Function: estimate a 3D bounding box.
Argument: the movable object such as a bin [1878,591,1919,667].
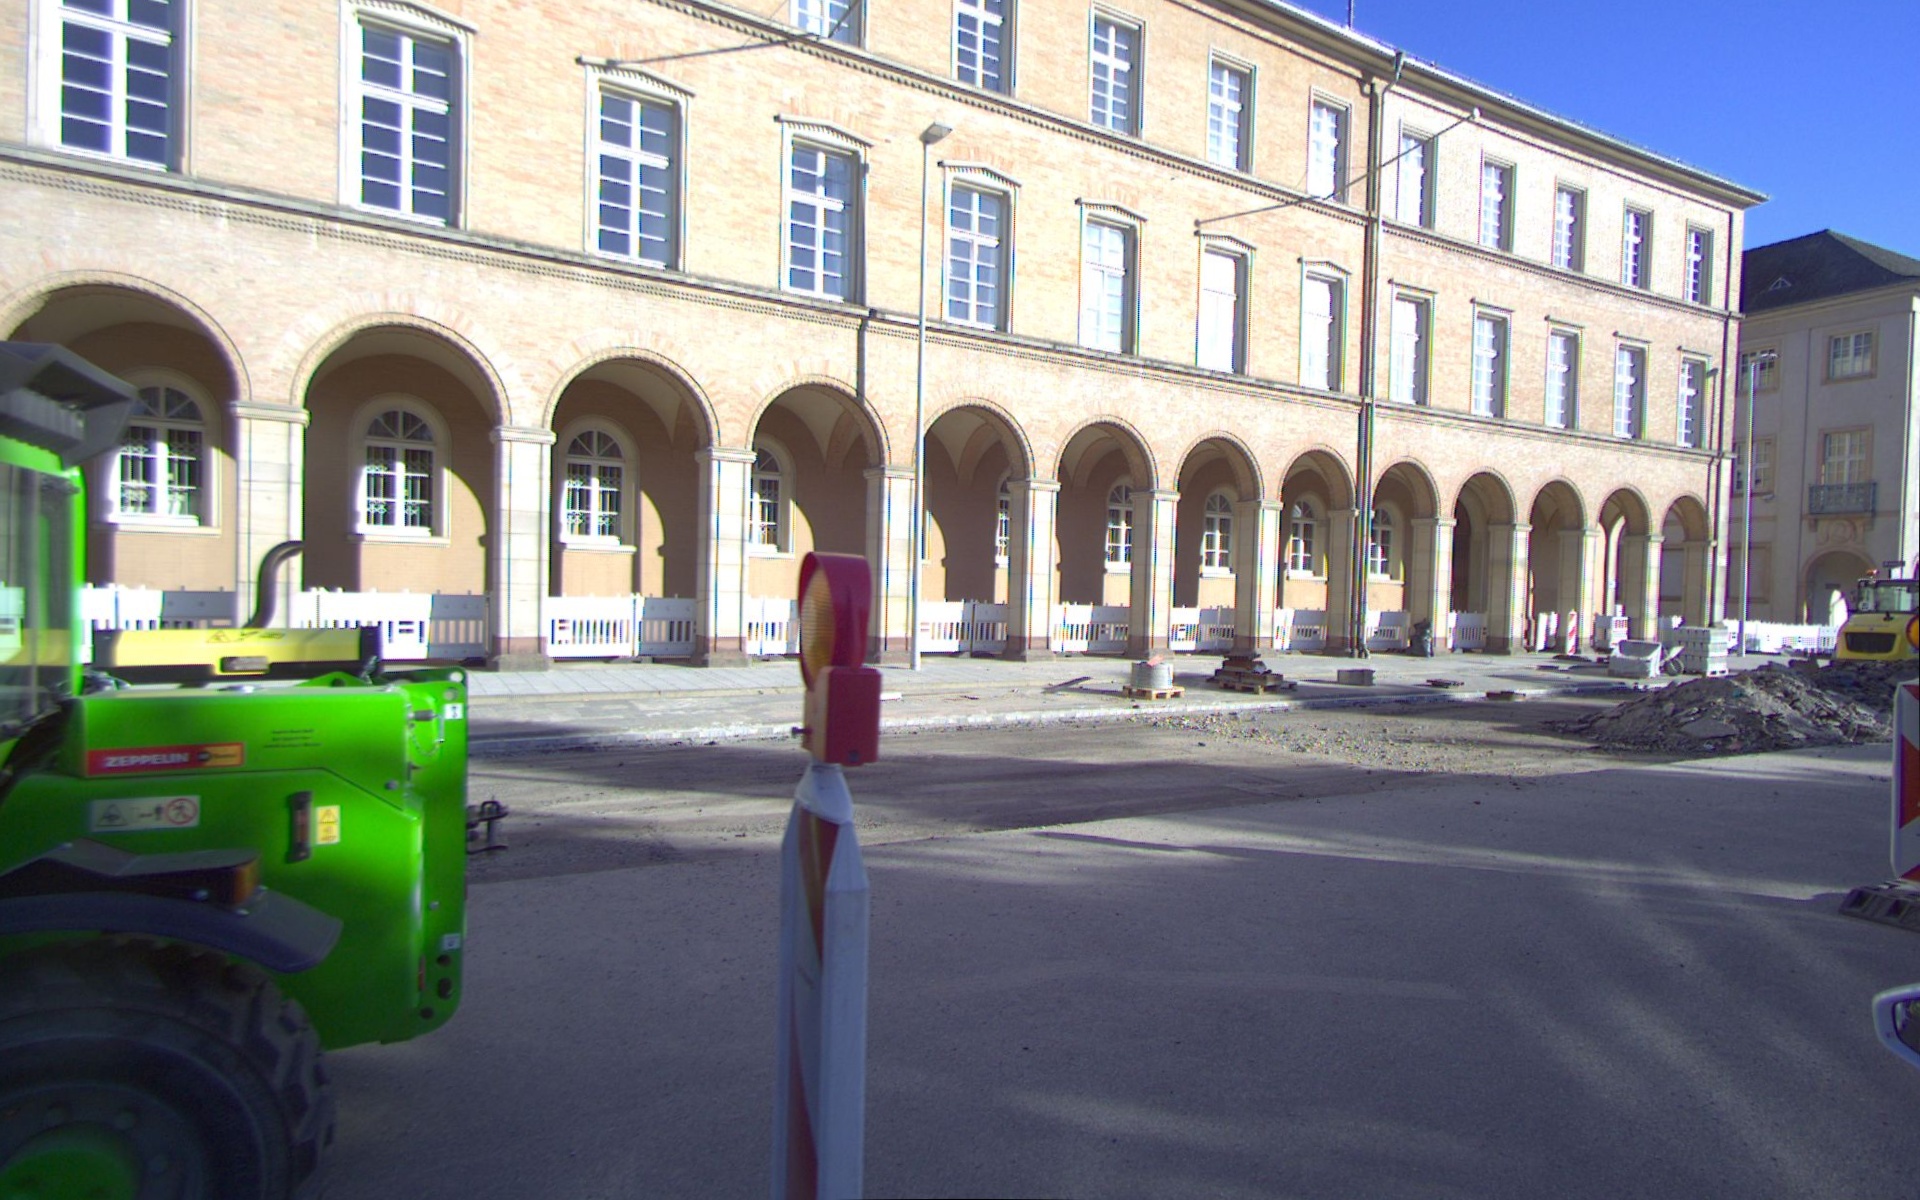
[{"bbox_3d":[32.216,0.969,32.232,4.399,2.380,2.539,1,1,-25],"label":"movable object such as a bin"}]

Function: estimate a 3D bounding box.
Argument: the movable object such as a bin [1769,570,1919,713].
[{"bbox_3d":[18.241,0.708,19.629,4.556,2.509,2.067,0,2,-27],"label":"movable object such as a bin"}]

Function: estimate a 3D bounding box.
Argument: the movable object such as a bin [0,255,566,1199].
[{"bbox_3d":[-3.125,0.418,1.967,4.276,1.975,2.043,0,1,-26],"label":"movable object such as a bin"}]
